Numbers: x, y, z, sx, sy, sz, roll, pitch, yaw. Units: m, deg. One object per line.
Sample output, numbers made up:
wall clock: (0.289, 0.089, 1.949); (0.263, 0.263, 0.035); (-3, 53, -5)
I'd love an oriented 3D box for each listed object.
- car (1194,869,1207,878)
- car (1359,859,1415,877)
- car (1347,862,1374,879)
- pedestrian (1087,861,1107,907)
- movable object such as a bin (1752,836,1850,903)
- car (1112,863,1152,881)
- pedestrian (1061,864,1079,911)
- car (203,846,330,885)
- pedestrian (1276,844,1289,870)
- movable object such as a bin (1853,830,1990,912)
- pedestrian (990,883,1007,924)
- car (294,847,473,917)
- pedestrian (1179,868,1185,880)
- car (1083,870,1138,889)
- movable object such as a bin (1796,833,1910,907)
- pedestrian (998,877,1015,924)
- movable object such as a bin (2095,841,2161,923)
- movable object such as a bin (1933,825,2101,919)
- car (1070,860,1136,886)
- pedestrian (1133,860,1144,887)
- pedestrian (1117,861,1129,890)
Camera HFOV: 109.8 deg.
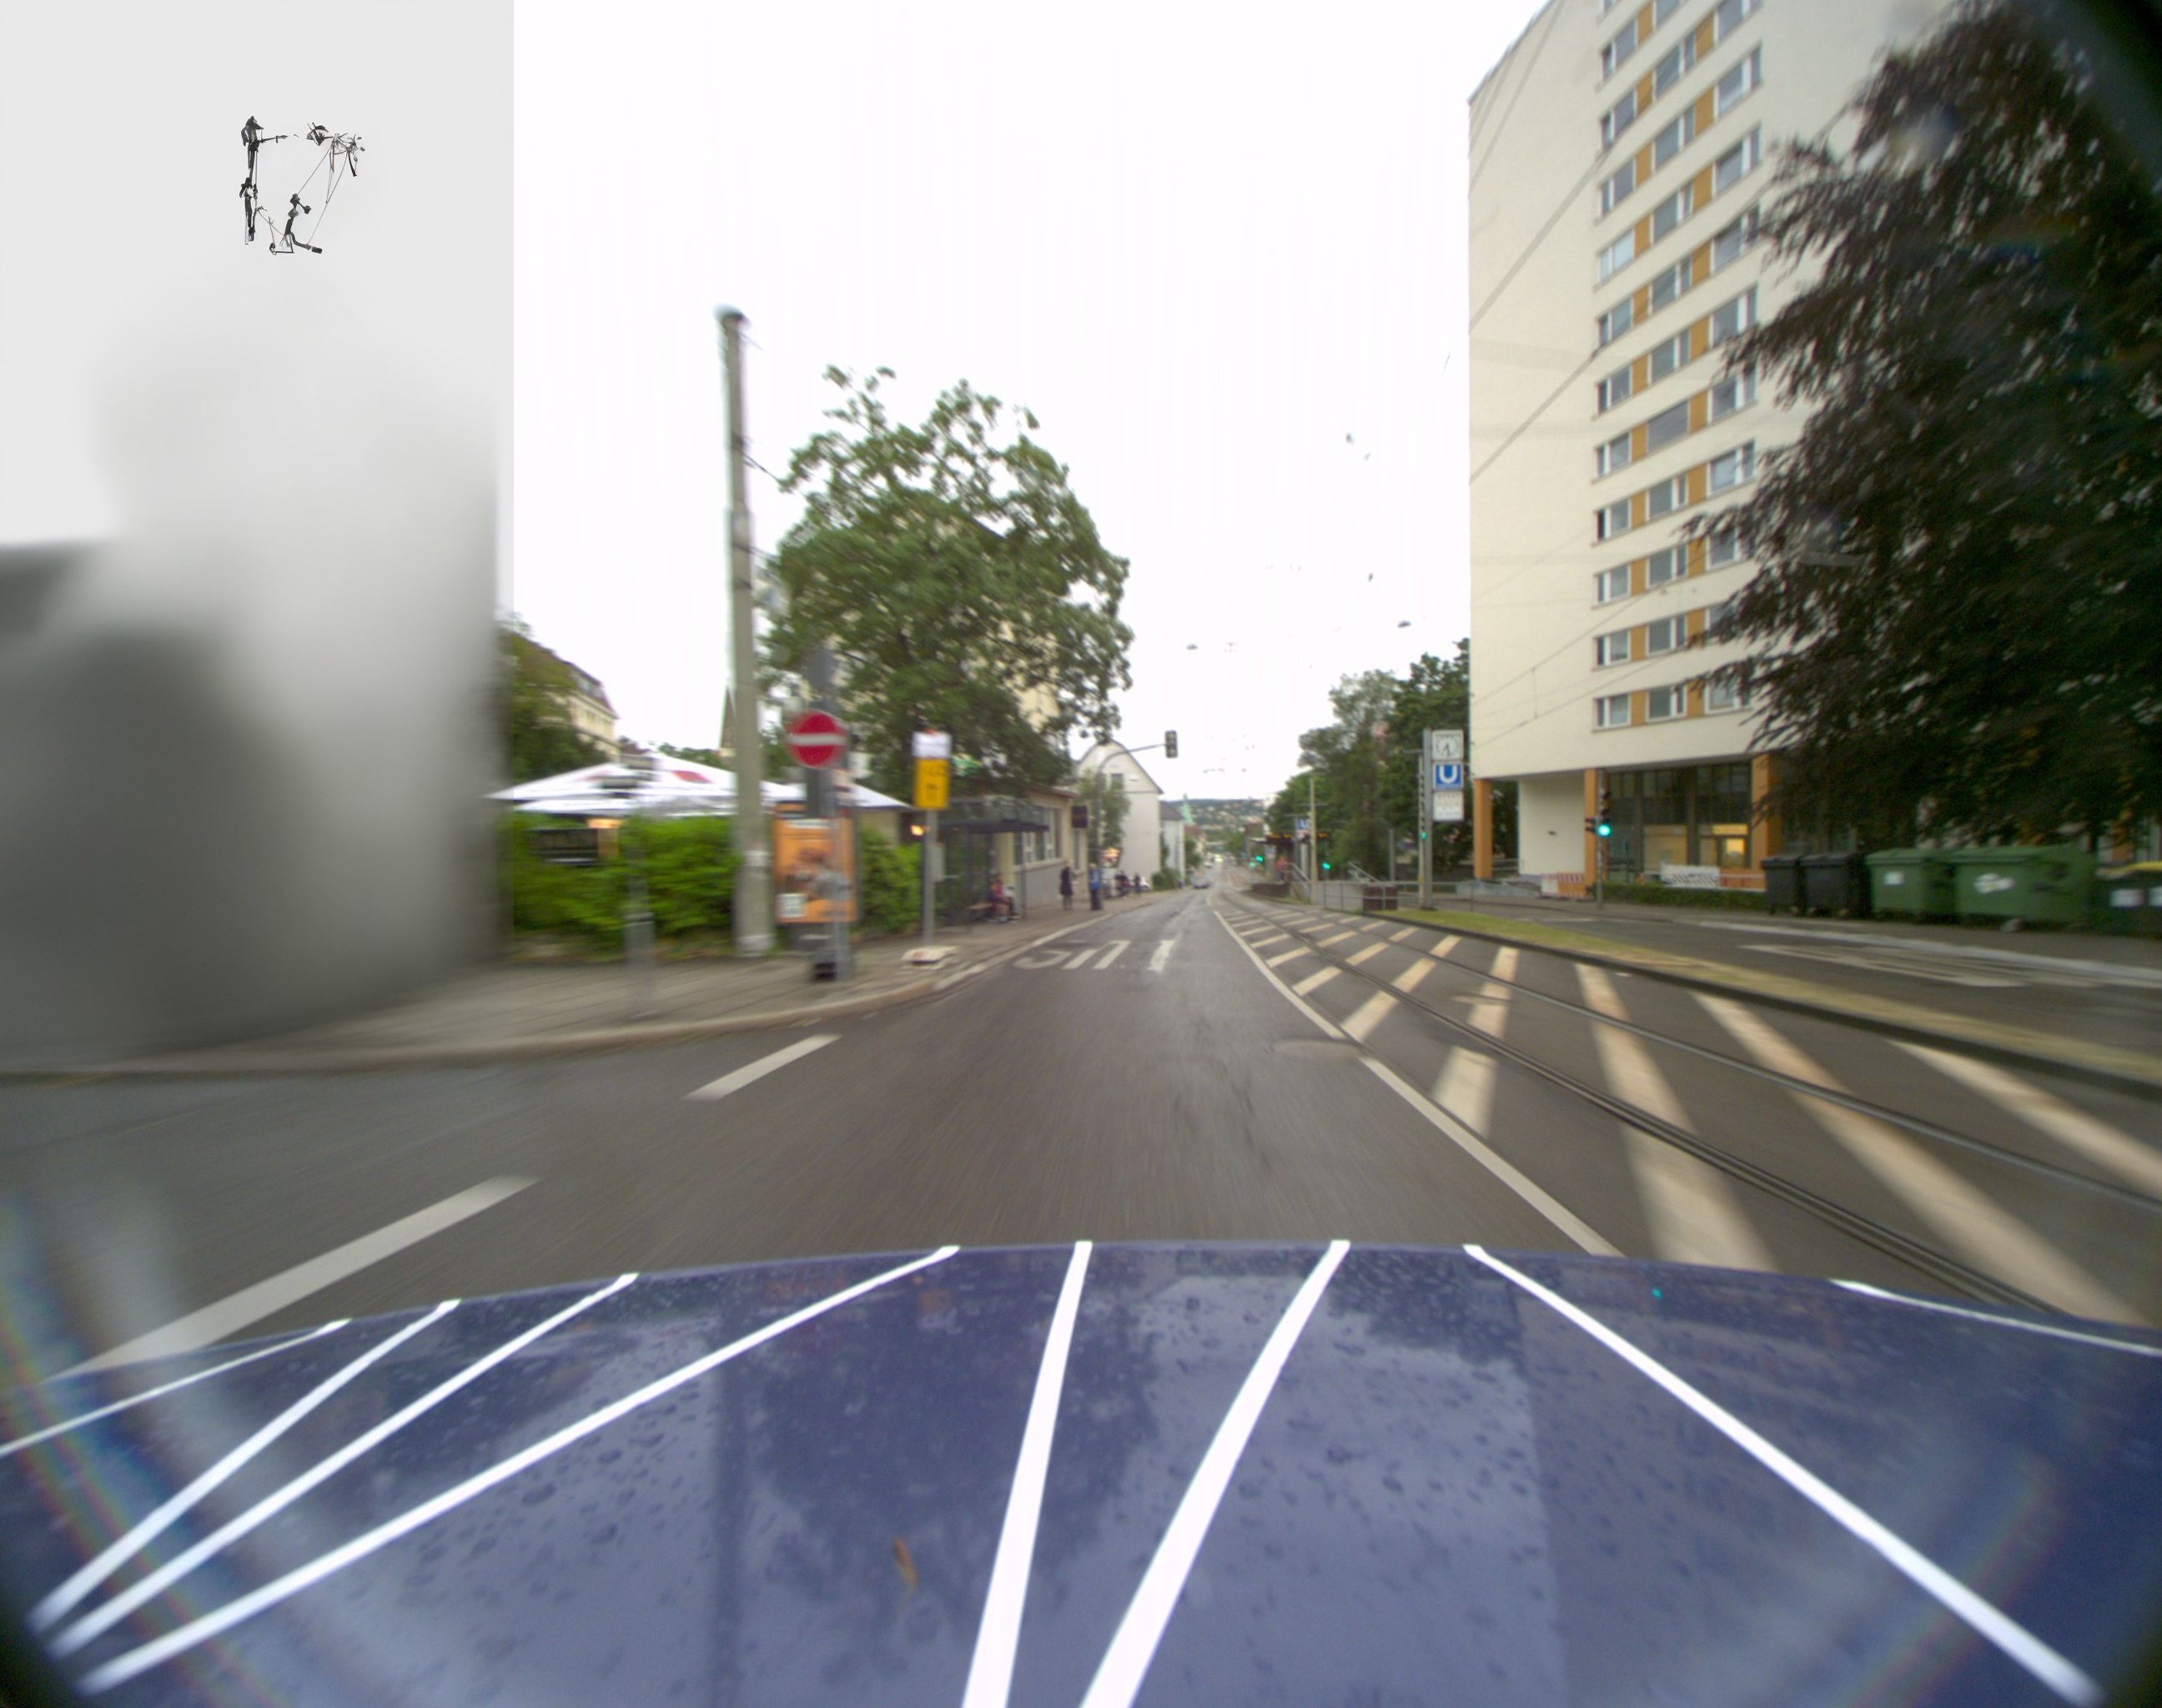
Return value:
car: (18.363, 3.019, 116.934); (1.724, 1.350, 4.004); (-2, -1, 11)
car: (27.948, 1.257, 69.347); (4.481, 1.533, 1.949); (-2, -1, 30)
car: (28.806, 1.702, 78.360); (1.749, 1.706, 4.445); (-1, -1, 8)
pedestrian: (0.548, 1.006, 25.780); (0.589, 1.544, 0.650); (0, 0, 9)
movable object such as a bin: (16.352, 0.350, 17.308); (1.022, 1.425, 1.305); (-3, -1, 11)
car: (5.225, 1.845, 77.993); (3.995, 1.459, 1.816); (-2, 5, 5)
pedestrian: (-0.373, 1.122, 25.677); (0.546, 1.544, 0.559); (0, 0, 7)
car: (-31.025, 0.469, 29.092); (1.601, 1.333, 3.630); (-3, -1, -16)
pedestrian: (12.309, 0.181, 46.506); (0.672, 1.538, 0.772); (-1, -1, 9)
movable object such as a bin: (15.835, 0.309, 14.372); (1.022, 1.425, 1.445); (-3, -1, 11)
pedestrian: (-2.019, 1.206, 18.557); (0.325, 0.989, 0.318); (1, 0, 6)
car: (-16.368, 0.574, 18.099); (1.695, 1.434, 3.797); (-2, 1, -19)
pedestrian: (13.048, 2.568, 98.335); (0.657, 1.611, 0.631); (-1, 0, 15)
car: (2.795, 2.419, 71.803); (4.940, 1.428, 1.976); (-3, 0, 10)
movable object such as a bin: (16.043, 0.338, 15.852); (1.022, 1.425, 1.356); (-3, -1, 11)
pedestrian: (-1.851, 1.152, 18.937); (0.325, 1.144, 0.318); (1, 0, 6)
movable object such as a bin: (15.778, 0.388, 10.760); (1.022, 1.131, 1.344); (-3, -1, 11)
movable object such as a bin: (15.446, 0.291, 12.611); (1.022, 1.425, 1.429); (-3, -1, 11)
car: (1.542, 1.296, 52.924); (4.335, 1.664, 1.782); (1, -1, 11)
pedestrian: (3.686, 1.247, 48.818); (0.720, 1.704, 0.609); (0, 0, 3)
pedestrian: (2.567, 1.302, 46.250); (0.580, 1.703, 0.614); (-3, -1, 6)
